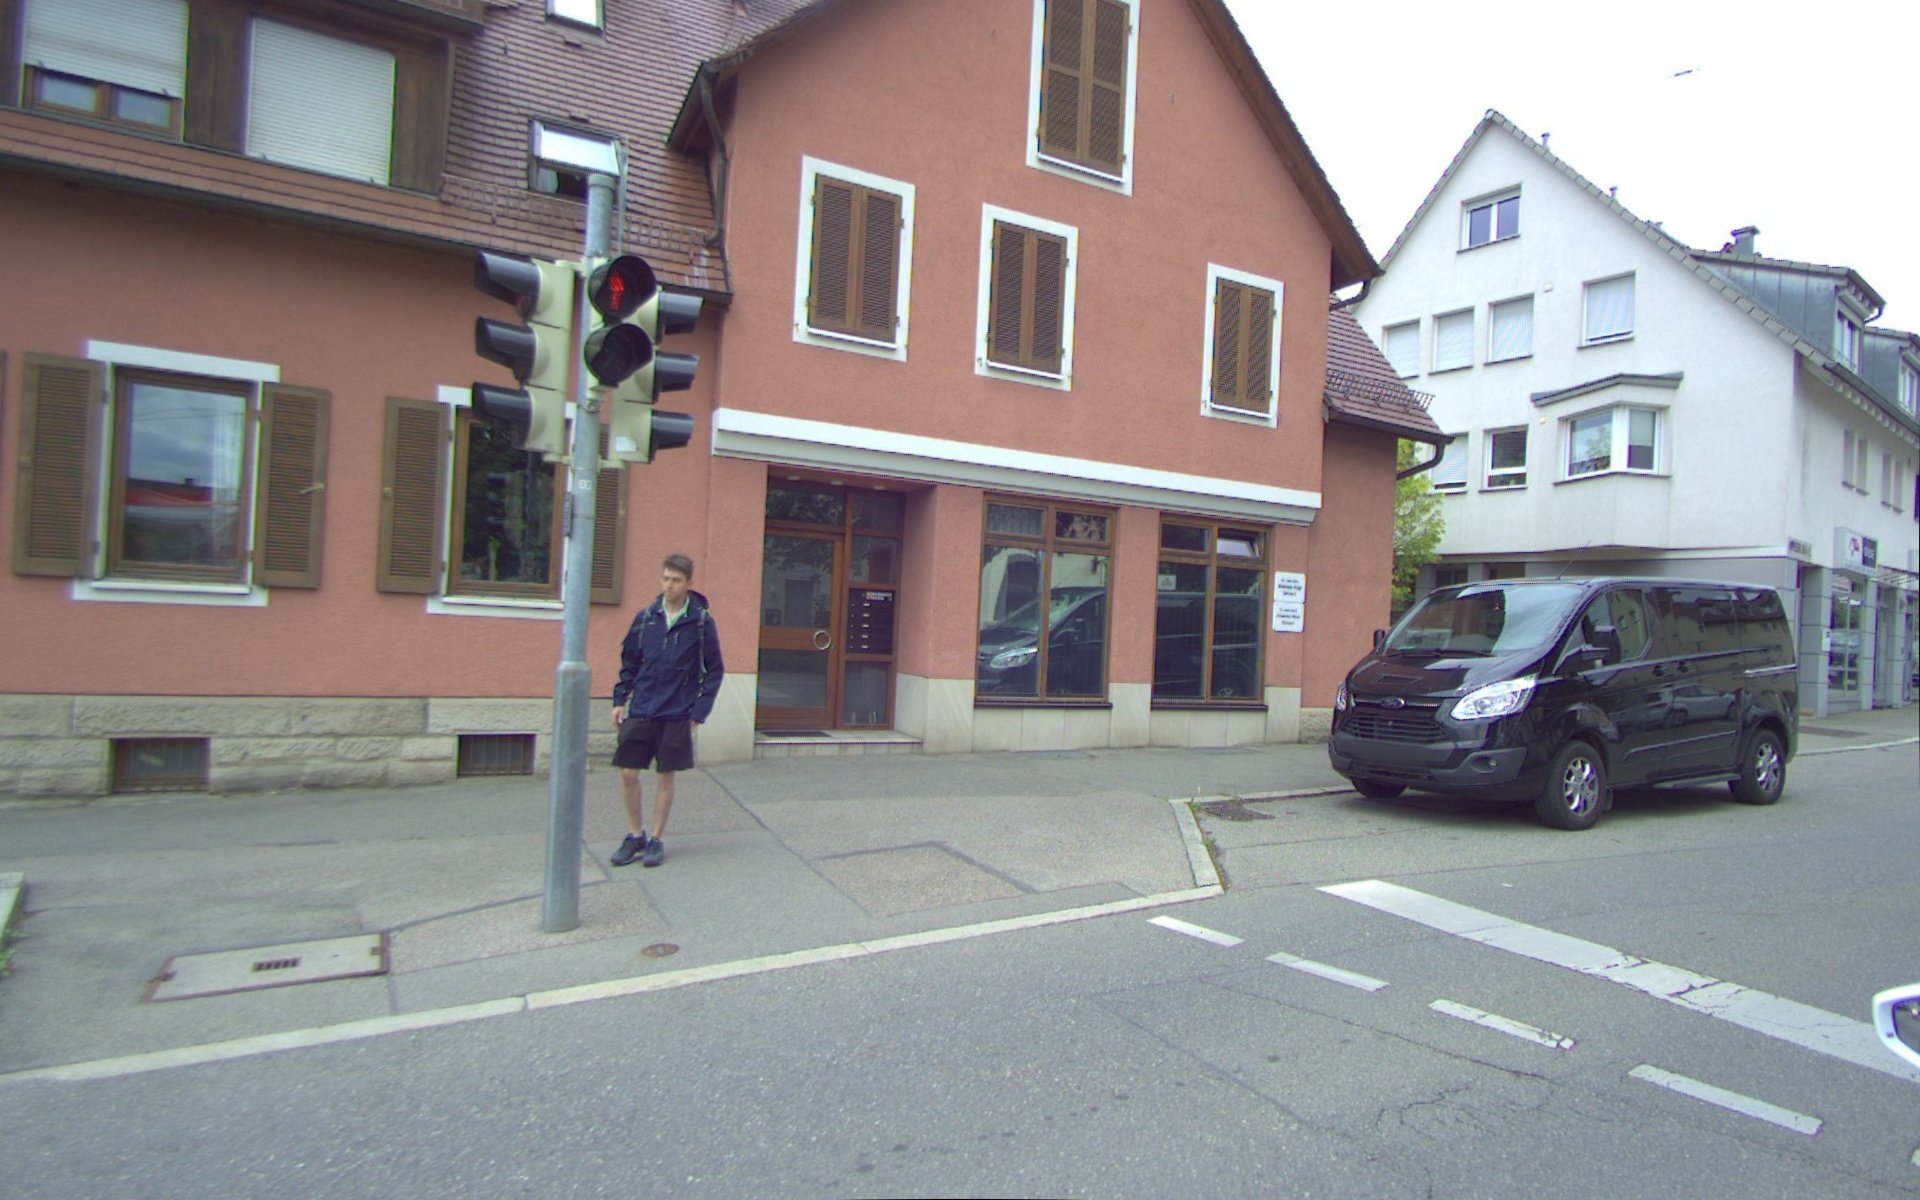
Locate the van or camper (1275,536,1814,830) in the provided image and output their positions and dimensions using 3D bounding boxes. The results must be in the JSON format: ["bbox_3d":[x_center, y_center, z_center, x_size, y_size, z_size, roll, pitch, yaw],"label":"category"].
[{"bbox_3d":[5.346,0.688,9.054,4.799,2.032,2.065,2,-2,-29],"label":"van or camper"}]

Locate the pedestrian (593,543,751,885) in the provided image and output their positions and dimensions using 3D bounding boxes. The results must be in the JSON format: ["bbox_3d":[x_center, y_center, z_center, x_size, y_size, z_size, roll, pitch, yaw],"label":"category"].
[{"bbox_3d":[-1.637,0.608,5.835,0.789,1.808,0.890,1,1,-13],"label":"pedestrian"}]
